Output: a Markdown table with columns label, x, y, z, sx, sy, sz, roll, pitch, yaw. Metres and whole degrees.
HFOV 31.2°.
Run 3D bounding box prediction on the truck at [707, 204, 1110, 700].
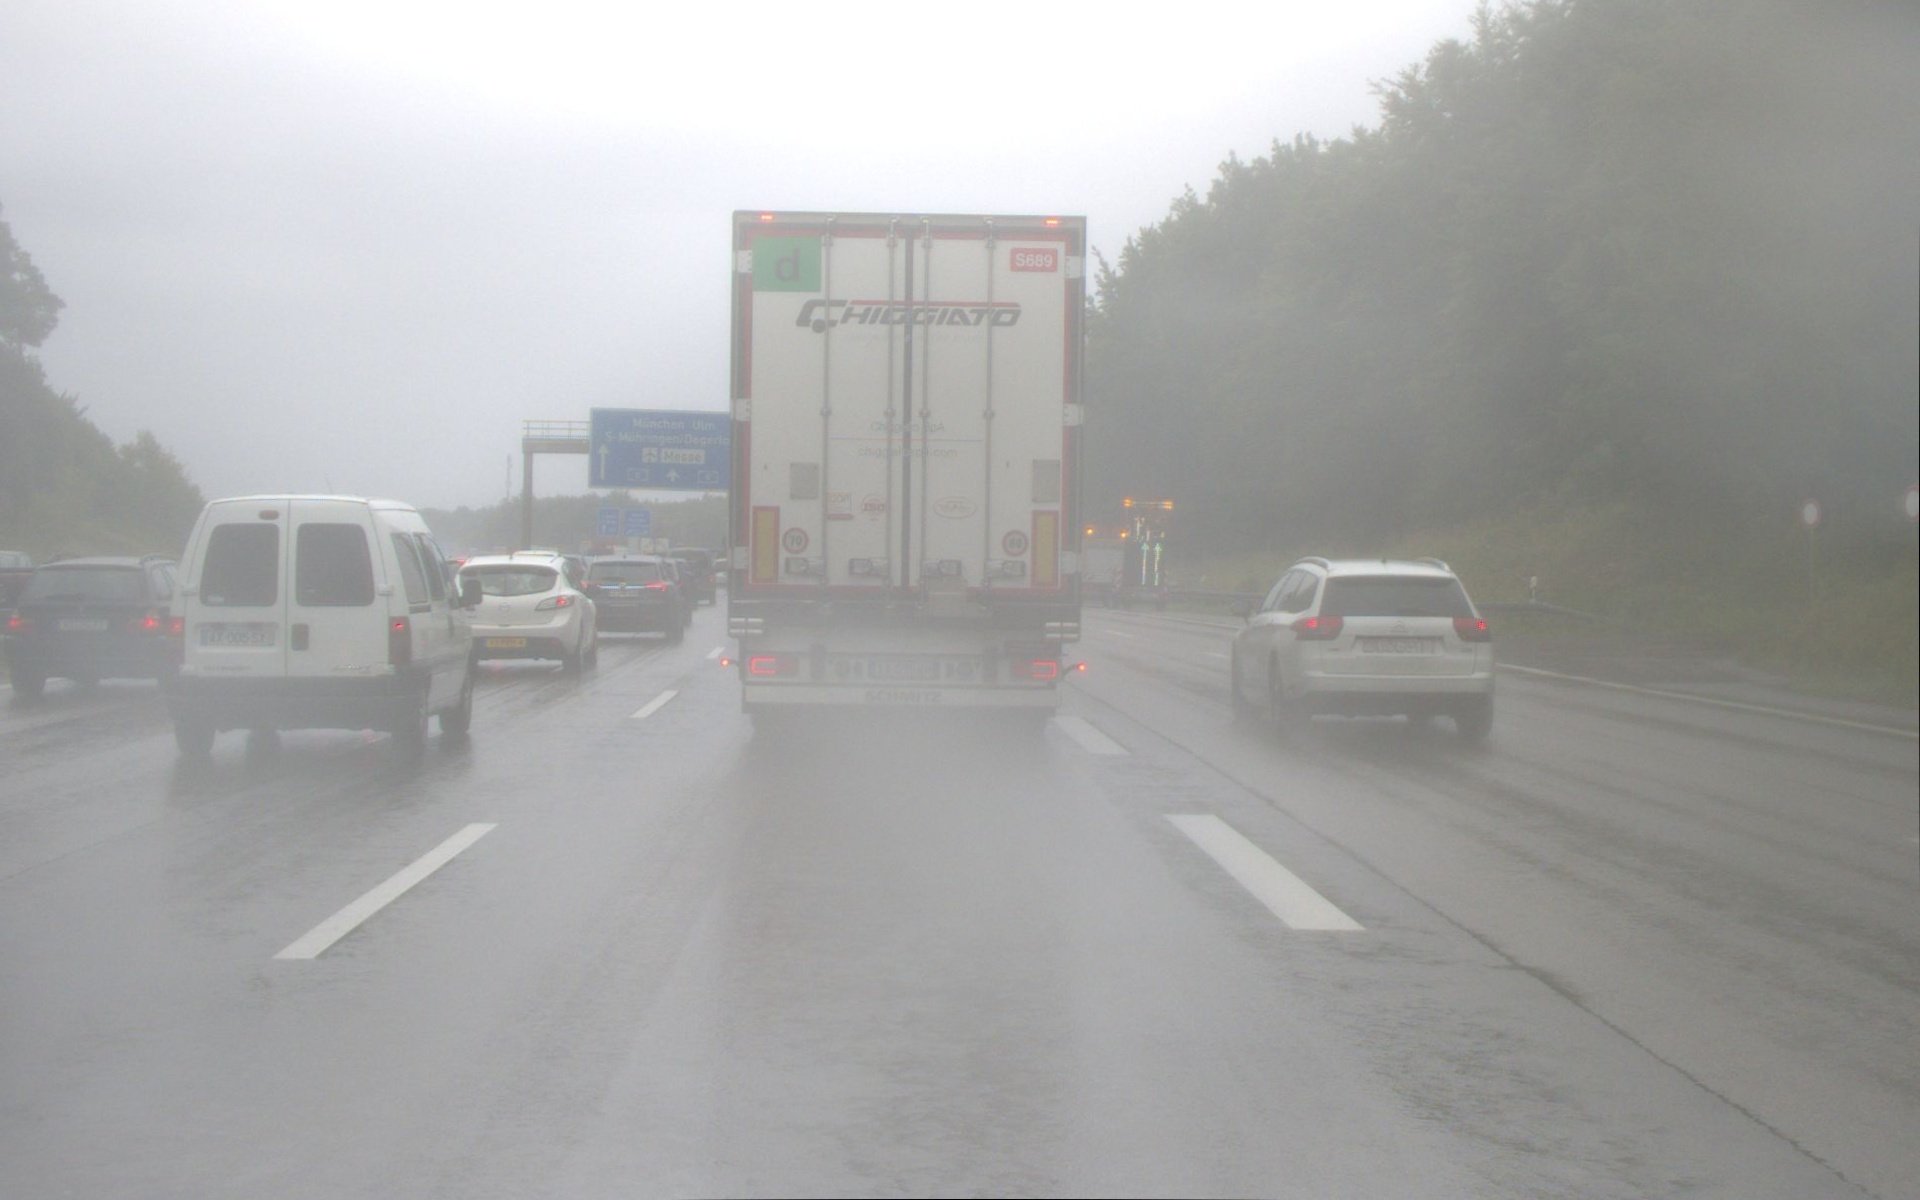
| label | x | y | z | sx | sy | sz | roll | pitch | yaw |
| --- | --- | --- | --- | --- | --- | --- | --- | --- | --- |
| truck | -0.516 | -1.109 | 30.570 | 2.872 | 3.550 | 11.303 | 1 | 0 | -1 |

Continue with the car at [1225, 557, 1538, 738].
| label | x | y | z | sx | sy | sz | roll | pitch | yaw |
| --- | --- | --- | --- | --- | --- | --- | --- | --- | --- |
| car | 3.536 | 0.348 | 29.674 | 2.007 | 1.389 | 4.568 | 1 | 1 | -2 |

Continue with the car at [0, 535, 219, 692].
| label | x | y | z | sx | sy | sz | roll | pitch | yaw |
| --- | --- | --- | --- | --- | --- | --- | --- | --- | --- |
| car | -9.076 | 0.088 | 35.699 | 2.090 | 1.499 | 4.755 | 1 | 1 | -5 |

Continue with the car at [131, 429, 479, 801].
| label | x | y | z | sx | sy | sz | roll | pitch | yaw |
| --- | --- | --- | --- | --- | --- | --- | --- | --- | --- |
| car | -4.903 | 0.062 | 26.419 | 2.212 | 2.564 | 5.017 | 1 | 1 | -6 |

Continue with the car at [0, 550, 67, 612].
| label | x | y | z | sx | sy | sz | roll | pitch | yaw |
| --- | --- | --- | --- | --- | --- | --- | --- | --- | --- |
| car | -21.673 | -0.443 | 78.198 | 1.801 | 1.340 | 3.676 | 1 | 1 | -1 |

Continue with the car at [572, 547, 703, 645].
| label | x | y | z | sx | sy | sz | roll | pitch | yaw |
| --- | --- | --- | --- | --- | --- | --- | --- | --- | --- |
| car | -5.477 | -0.098 | 58.858 | 1.845 | 1.586 | 4.467 | 1 | 1 | 0 |

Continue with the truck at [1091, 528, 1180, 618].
| label | x | y | z | sx | sy | sz | roll | pitch | yaw |
| --- | --- | --- | --- | --- | --- | --- | --- | --- | --- |
| truck | 5.909 | -0.940 | 116.351 | 2.589 | 2.931 | 6.456 | 1 | 1 | 0 |

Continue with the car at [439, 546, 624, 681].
| label | x | y | z | sx | sy | sz | roll | pitch | yaw |
| --- | --- | --- | --- | --- | --- | --- | --- | --- | --- |
| car | -5.355 | 0.127 | 43.396 | 1.845 | 1.586 | 4.072 | 1 | 1 | 0 |
